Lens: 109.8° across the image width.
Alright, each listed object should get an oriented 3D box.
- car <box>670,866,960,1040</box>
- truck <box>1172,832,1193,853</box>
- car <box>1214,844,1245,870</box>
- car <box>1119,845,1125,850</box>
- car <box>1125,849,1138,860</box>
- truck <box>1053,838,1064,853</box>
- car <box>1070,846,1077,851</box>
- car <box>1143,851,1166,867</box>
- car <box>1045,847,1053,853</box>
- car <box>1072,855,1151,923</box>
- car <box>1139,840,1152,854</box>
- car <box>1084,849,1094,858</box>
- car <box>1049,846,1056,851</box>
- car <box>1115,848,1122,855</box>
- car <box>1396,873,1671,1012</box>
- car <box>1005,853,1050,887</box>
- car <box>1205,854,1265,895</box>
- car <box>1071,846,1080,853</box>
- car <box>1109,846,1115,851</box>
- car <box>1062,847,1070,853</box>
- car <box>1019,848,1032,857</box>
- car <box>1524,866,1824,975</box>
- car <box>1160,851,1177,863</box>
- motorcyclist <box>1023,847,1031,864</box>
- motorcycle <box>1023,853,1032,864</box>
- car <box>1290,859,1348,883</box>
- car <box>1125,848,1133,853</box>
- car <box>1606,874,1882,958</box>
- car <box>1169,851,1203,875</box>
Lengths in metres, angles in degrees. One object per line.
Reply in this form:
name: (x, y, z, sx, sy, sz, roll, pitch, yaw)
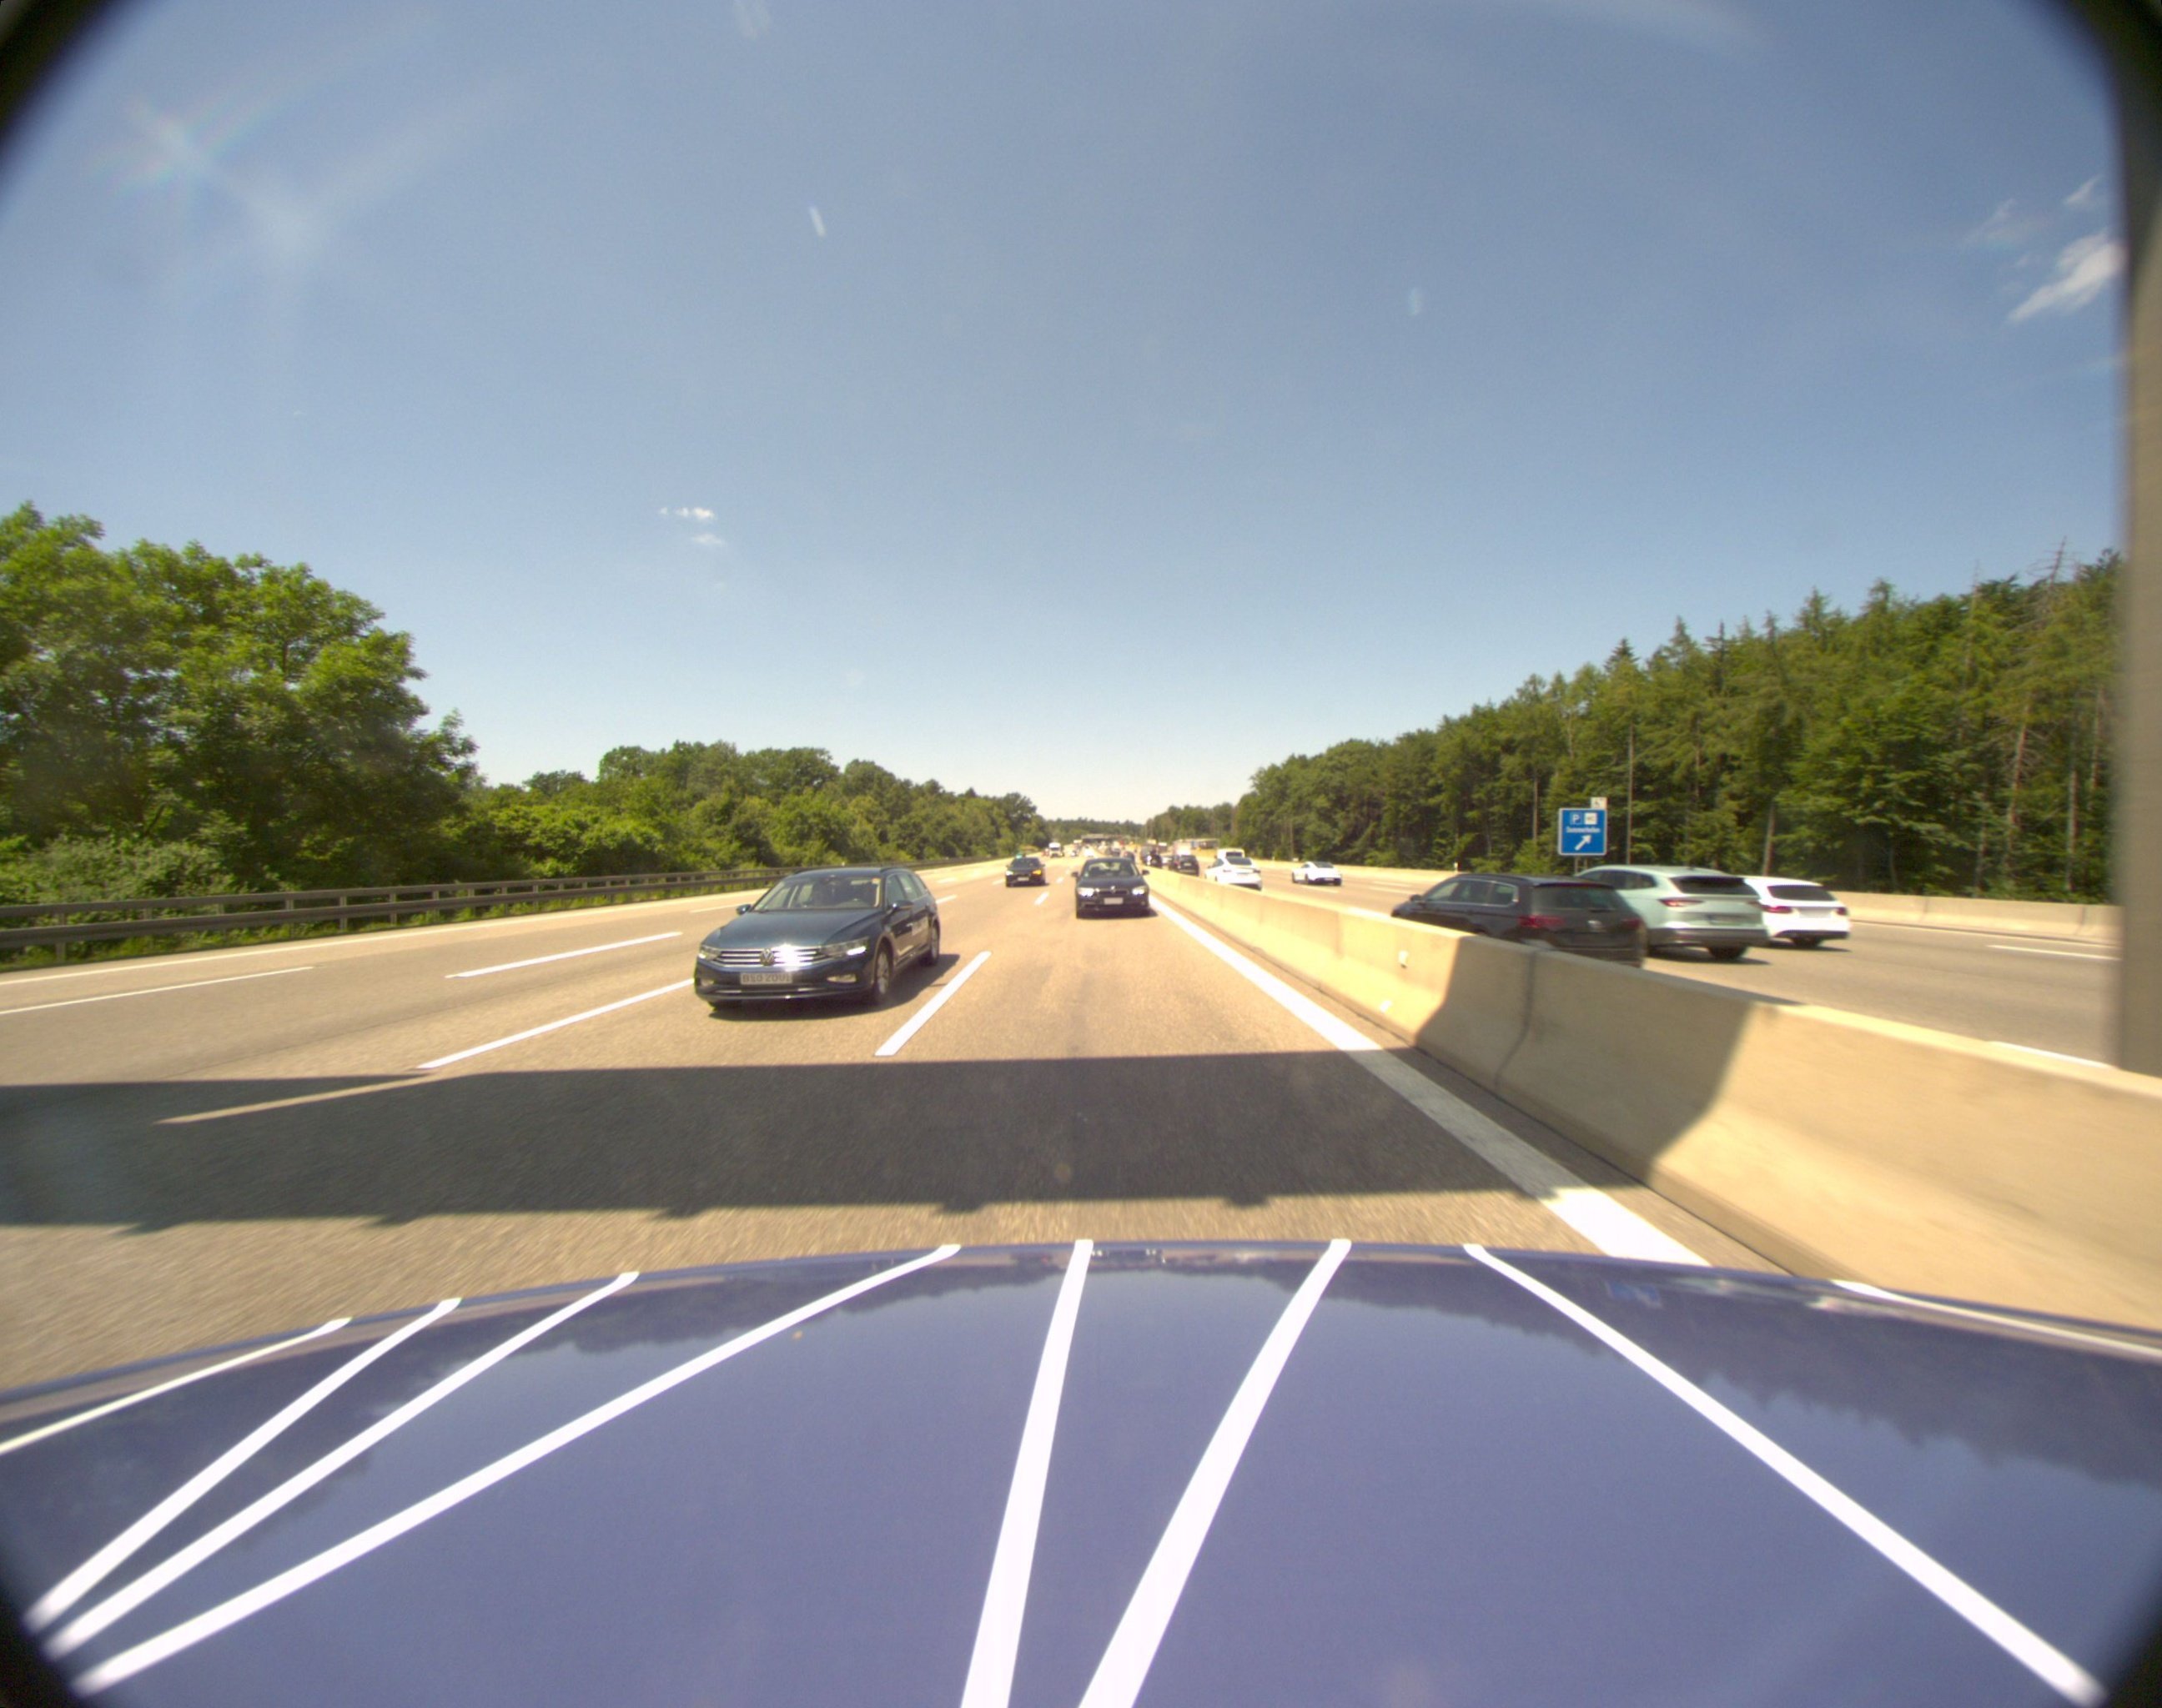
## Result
car: (-2.843, 0.952, 9.480, 1.734, 1.439, 4.961, -1, 1, 1)
truck: (19.190, -2.234, 144.685, 2.726, 3.917, 10.233, 1, 1, 1)
car: (15.105, 0.238, 77.620, 1.935, 2.399, 6.624, 2, 1, 1)
car: (13.726, -2.196, 253.344, 1.975, 1.714, 4.510, 0, 0, 3)
car: (7.799, 0.060, 117.561, 1.709, 1.652, 3.759, 0, 1, 1)
truck: (-5.169, -2.012, 175.170, 2.429, 3.238, 8.687, 0, 1, 0)
car: (-2.248, -1.608, 230.518, 1.874, 1.560, 4.127, 0, 0, 1)
car: (7.602, 0.459, 78.940, 1.874, 1.597, 5.228, 1, 1, 1)
car: (-8.863, -1.026, 208.179, 1.874, 1.560, 4.127, 0, 0, 1)
car: (0.740, 0.797, 19.516, 1.741, 1.450, 4.542, -2, 1, 1)
car: (12.472, -1.349, 146.669, 1.935, 2.592, 7.230, 1, 0, 1)
car: (1.701, -0.113, 166.755, 1.998, 1.936, 4.127, 0, 0, 2)
car: (-8.576, -1.579, 226.839, 1.874, 1.560, 4.127, 0, 0, 1)
car: (8.752, -0.678, 177.903, 1.618, 1.652, 3.849, 0, 1, 1)
car: (6.287, 1.112, 11.175, 1.541, 1.541, 4.069, 0, 0, -1)
car: (-2.616, 0.738, 38.031, 1.834, 1.454, 4.203, -2, 1, 1)
car: (6.783, 0.848, 33.869, 1.817, 1.663, 4.475, 0, 0, 1)
car: (-1.292, -1.164, 189.442, 1.998, 1.671, 4.127, 1, 1, 2)
car: (8.930, -1.474, 217.701, 1.618, 1.386, 3.849, 0, 1, 1)
car: (-3.891, -0.933, 200.477, 1.874, 1.560, 4.127, 0, 0, 1)
car: (-10.863, -0.306, 149.323, 1.998, 1.671, 4.127, 1, 1, 2)
car: (10.731, 1.081, 14.367, 1.822, 1.580, 4.881, 1, 0, 0)
car: (11.376, 0.383, 98.594, 1.682, 1.436, 4.525, 1, 1, 0)
motorcyclist: (-6.452, 0.183, 91.503, 0.914, 1.926, 0.905, 0, 2, 0)
motorcycle: (-6.450, 0.543, 91.791, 0.925, 1.311, 2.997, 0, 1, 1)
car: (14.127, 0.992, 45.387, 1.998, 1.299, 4.844, 0, 1, 1)
car: (13.032, -1.003, 205.922, 1.721, 1.441, 4.908, -2, 0, 1)
car: (14.233, 1.236, 16.825, 1.856, 1.379, 4.928, 1, 0, 1)
car: (7.441, 0.619, 54.297, 1.759, 1.663, 4.203, 0, 0, -1)
